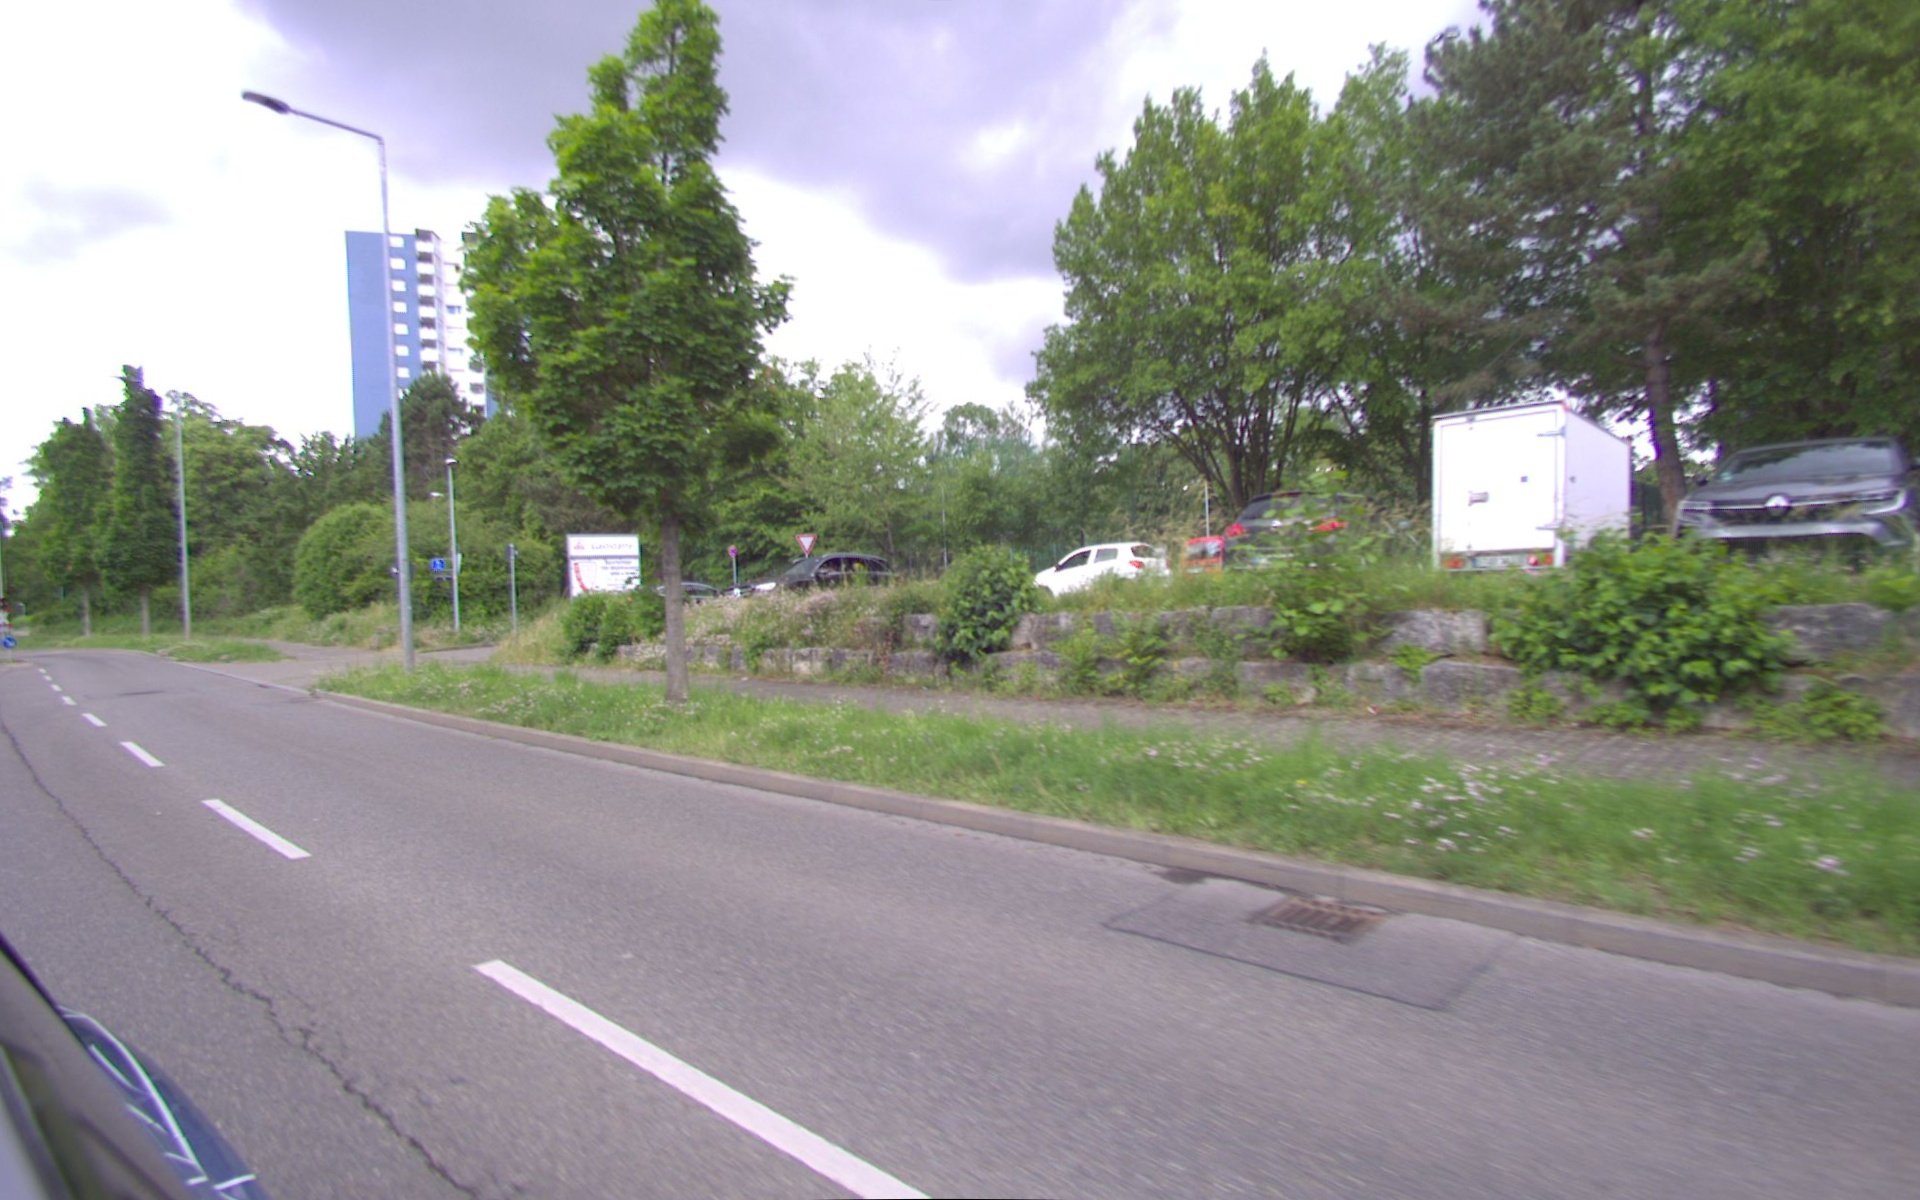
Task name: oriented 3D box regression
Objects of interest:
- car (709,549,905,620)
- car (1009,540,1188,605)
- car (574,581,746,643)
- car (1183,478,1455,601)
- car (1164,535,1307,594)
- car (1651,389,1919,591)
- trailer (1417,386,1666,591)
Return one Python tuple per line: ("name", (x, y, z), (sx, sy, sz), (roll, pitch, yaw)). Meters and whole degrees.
("car", (-3.442, -0.376, 23.206), (3.987, 1.428, 2.002), (-3, 1, -44))
("car", (3.412, -0.664, 25.420), (1.971, 1.428, 4.050), (-3, 1, -44))
("car", (-8.037, 0.301, 27.296), (3.941, 1.428, 2.002), (-3, 1, -44))
("car", (5.149, -0.808, 14.273), (3.987, 1.428, 2.002), (-3, 1, -44))
("car", (7.499, -0.982, 27.381), (4.053, 1.428, 1.903), (-3, 1, -44))
("car", (8.738, -0.989, 10.305), (3.987, 1.596, 2.002), (-3, 1, -44))
("trailer", (7.086, -1.196, 12.214), (3.326, 2.073, 1.680), (-2, 0, -43))
